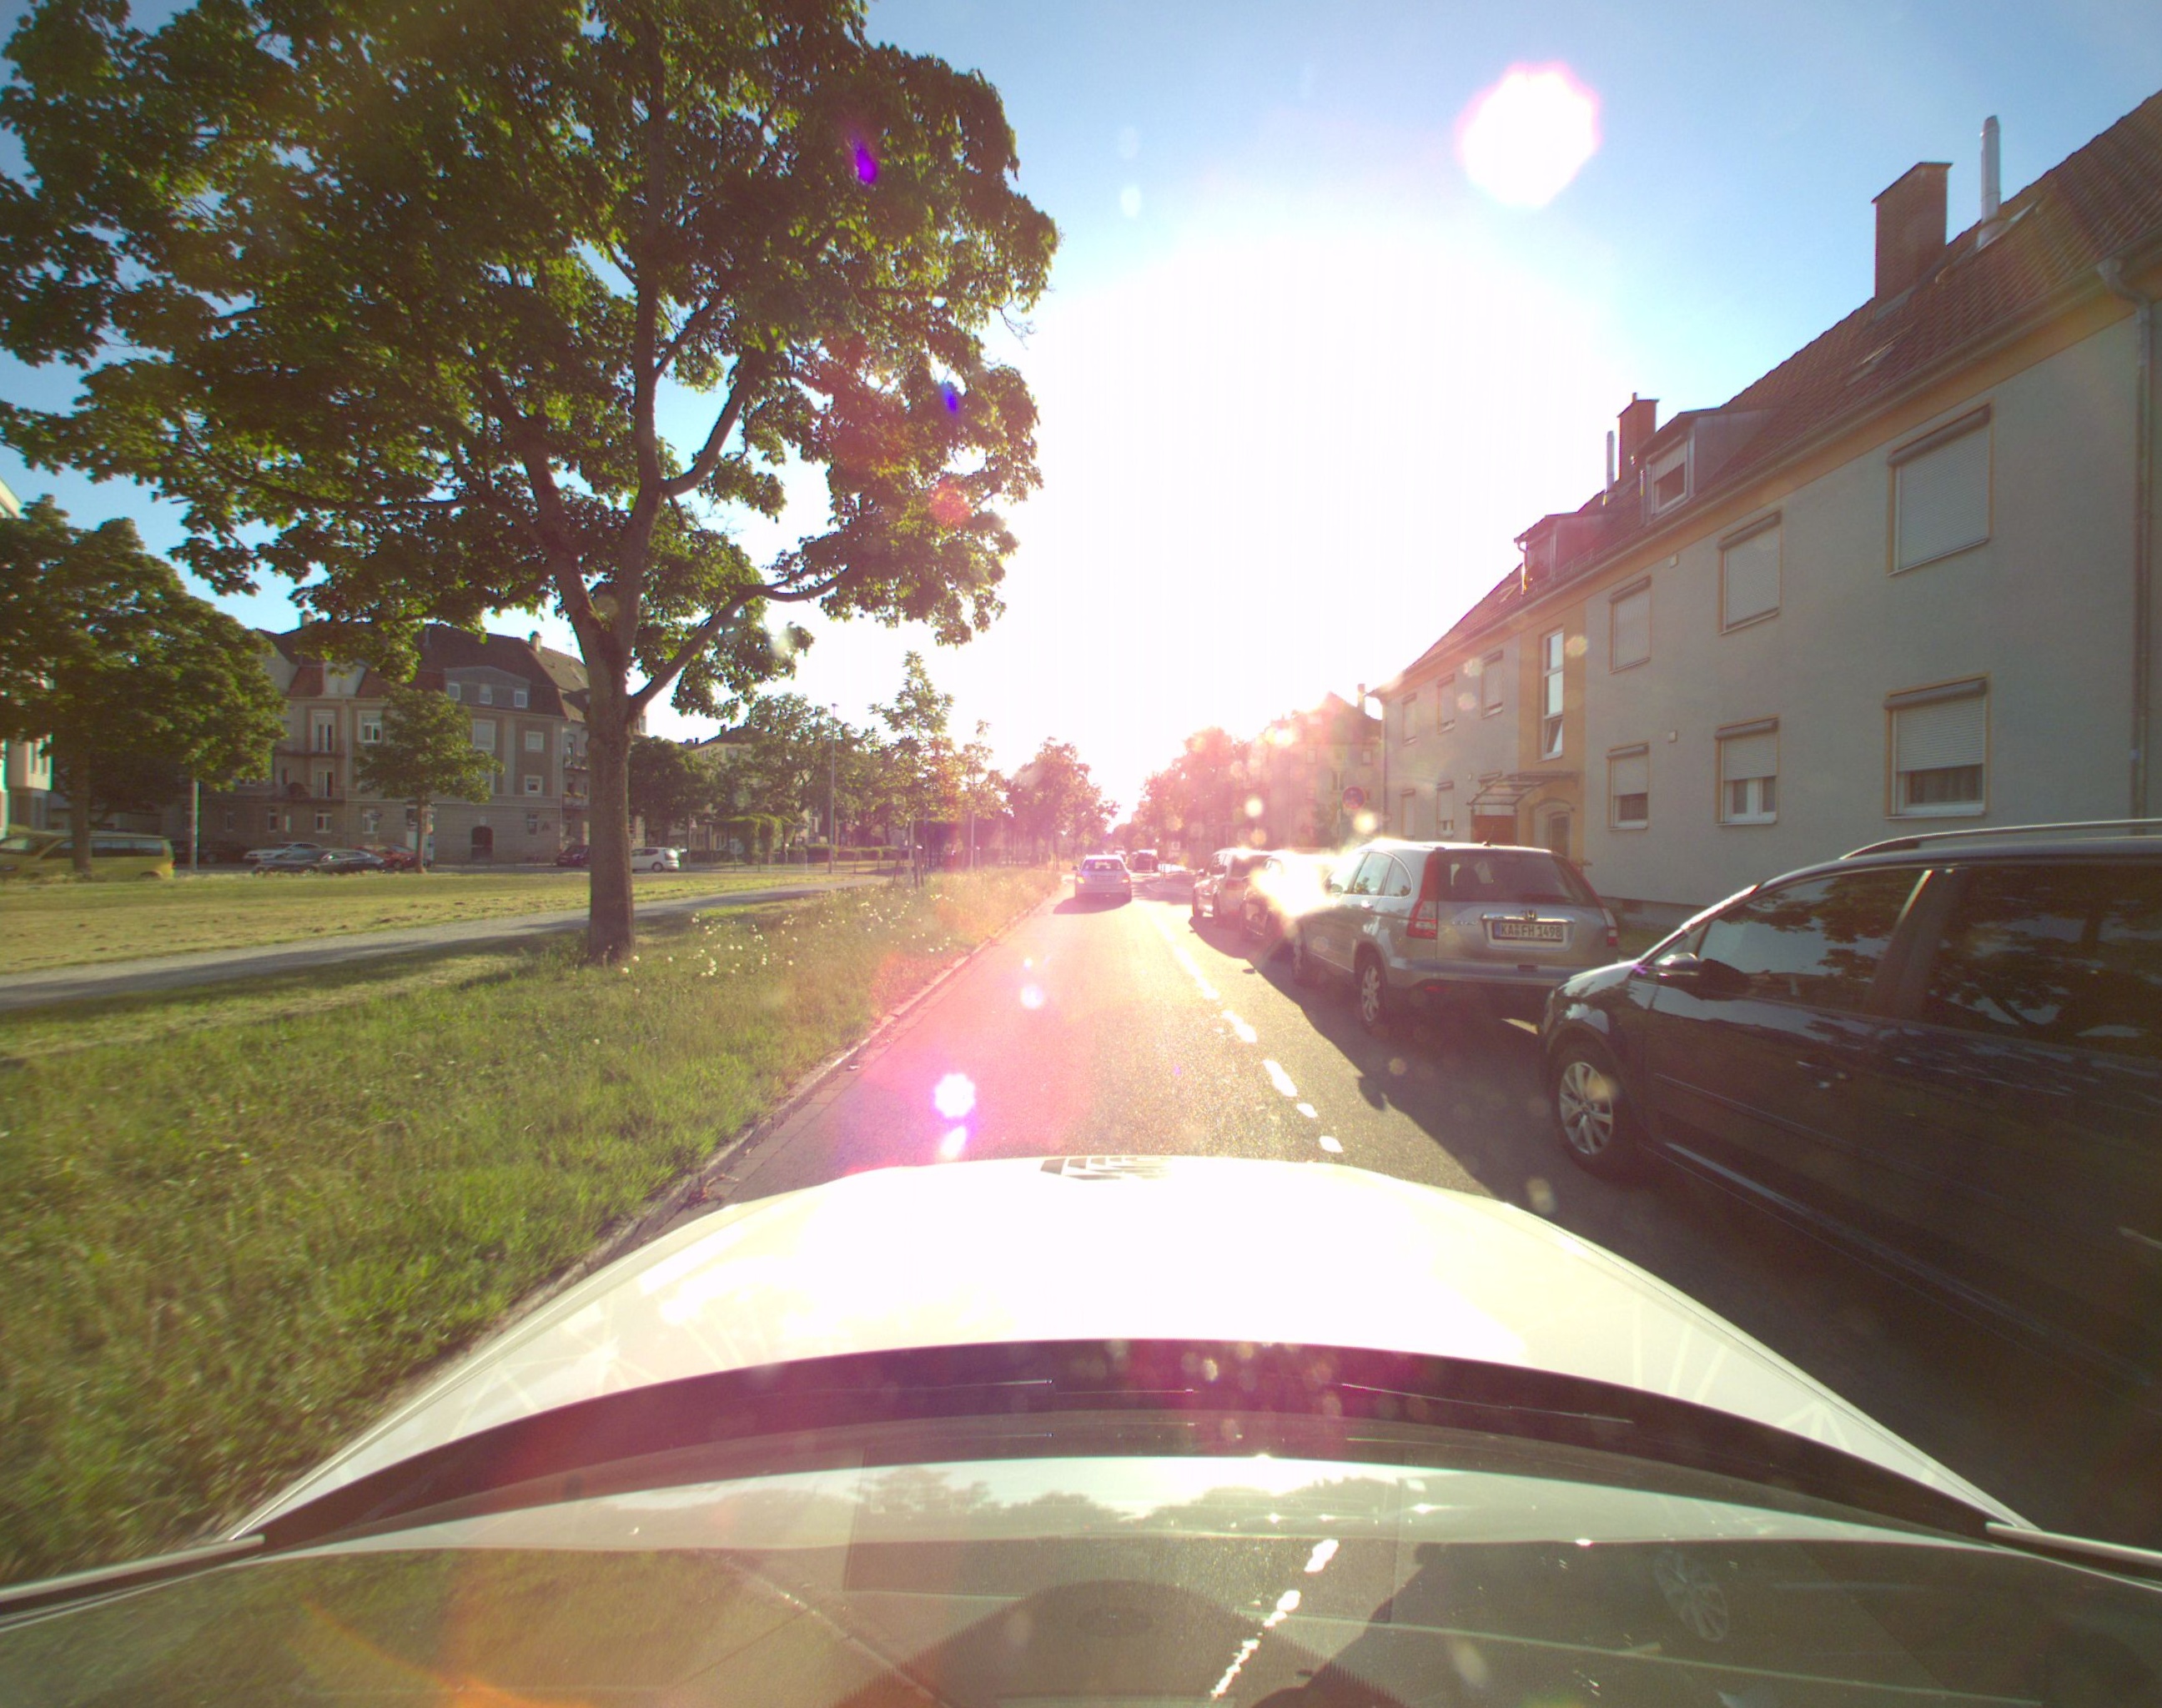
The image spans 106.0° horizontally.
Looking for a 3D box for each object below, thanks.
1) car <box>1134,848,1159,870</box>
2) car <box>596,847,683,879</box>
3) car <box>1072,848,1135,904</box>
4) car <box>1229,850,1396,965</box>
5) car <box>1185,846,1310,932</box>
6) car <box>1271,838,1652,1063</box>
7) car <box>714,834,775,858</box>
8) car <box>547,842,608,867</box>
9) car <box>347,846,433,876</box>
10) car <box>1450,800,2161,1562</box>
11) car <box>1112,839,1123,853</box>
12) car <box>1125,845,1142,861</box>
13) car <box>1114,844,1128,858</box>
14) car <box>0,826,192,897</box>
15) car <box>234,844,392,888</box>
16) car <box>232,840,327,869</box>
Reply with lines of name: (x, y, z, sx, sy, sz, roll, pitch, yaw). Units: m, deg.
car: (4.970, 0.359, 62.298, 1.715, 1.597, 4.002, 0, 0, 2)
car: (-25.589, 0.509, 47.264, 3.875, 1.596, 2.003, -3, 0, 5)
car: (0.746, 0.620, 25.984, 1.816, 1.566, 4.003, -1, 1, 2)
car: (3.581, 0.746, 13.267, 1.723, 1.526, 3.736, -1, 1, 1)
car: (3.595, 0.677, 18.450, 1.712, 1.638, 4.561, 2, 1, -2)
car: (3.336, 0.690, 8.331, 1.771, 1.643, 4.758, 0, 0, 1)
car: (-39.003, -0.942, 94.514, 6.332, 2.720, 1.984, 0, 1, -29)
car: (-37.419, 0.029, 60.613, 1.637, 1.707, 4.297, -3, 0, 3)
car: (-37.748, 0.342, 44.546, 3.562, 1.481, 1.691, 1, 2, 11)
car: (3.241, 0.720, 2.894, 1.759, 1.635, 4.765, 1, 0, 1)
car: (6.252, -1.356, 138.704, 1.854, 2.193, 5.073, 0, 1, 2)
car: (5.520, -0.108, 85.704, 1.715, 1.597, 4.002, 0, 1, 2)
car: (5.899, -0.418, 120.649, 1.981, 2.023, 4.002, 0, 1, 2)
car: (-32.857, 0.260, 26.548, 1.986, 2.057, 5.055, -3, 0, 2)
car: (-32.845, 0.473, 35.069, 1.975, 1.637, 4.832, -3, 0, 3)
car: (-50.300, 0.044, 51.211, 1.689, 1.637, 4.080, -3, 0, 3)
